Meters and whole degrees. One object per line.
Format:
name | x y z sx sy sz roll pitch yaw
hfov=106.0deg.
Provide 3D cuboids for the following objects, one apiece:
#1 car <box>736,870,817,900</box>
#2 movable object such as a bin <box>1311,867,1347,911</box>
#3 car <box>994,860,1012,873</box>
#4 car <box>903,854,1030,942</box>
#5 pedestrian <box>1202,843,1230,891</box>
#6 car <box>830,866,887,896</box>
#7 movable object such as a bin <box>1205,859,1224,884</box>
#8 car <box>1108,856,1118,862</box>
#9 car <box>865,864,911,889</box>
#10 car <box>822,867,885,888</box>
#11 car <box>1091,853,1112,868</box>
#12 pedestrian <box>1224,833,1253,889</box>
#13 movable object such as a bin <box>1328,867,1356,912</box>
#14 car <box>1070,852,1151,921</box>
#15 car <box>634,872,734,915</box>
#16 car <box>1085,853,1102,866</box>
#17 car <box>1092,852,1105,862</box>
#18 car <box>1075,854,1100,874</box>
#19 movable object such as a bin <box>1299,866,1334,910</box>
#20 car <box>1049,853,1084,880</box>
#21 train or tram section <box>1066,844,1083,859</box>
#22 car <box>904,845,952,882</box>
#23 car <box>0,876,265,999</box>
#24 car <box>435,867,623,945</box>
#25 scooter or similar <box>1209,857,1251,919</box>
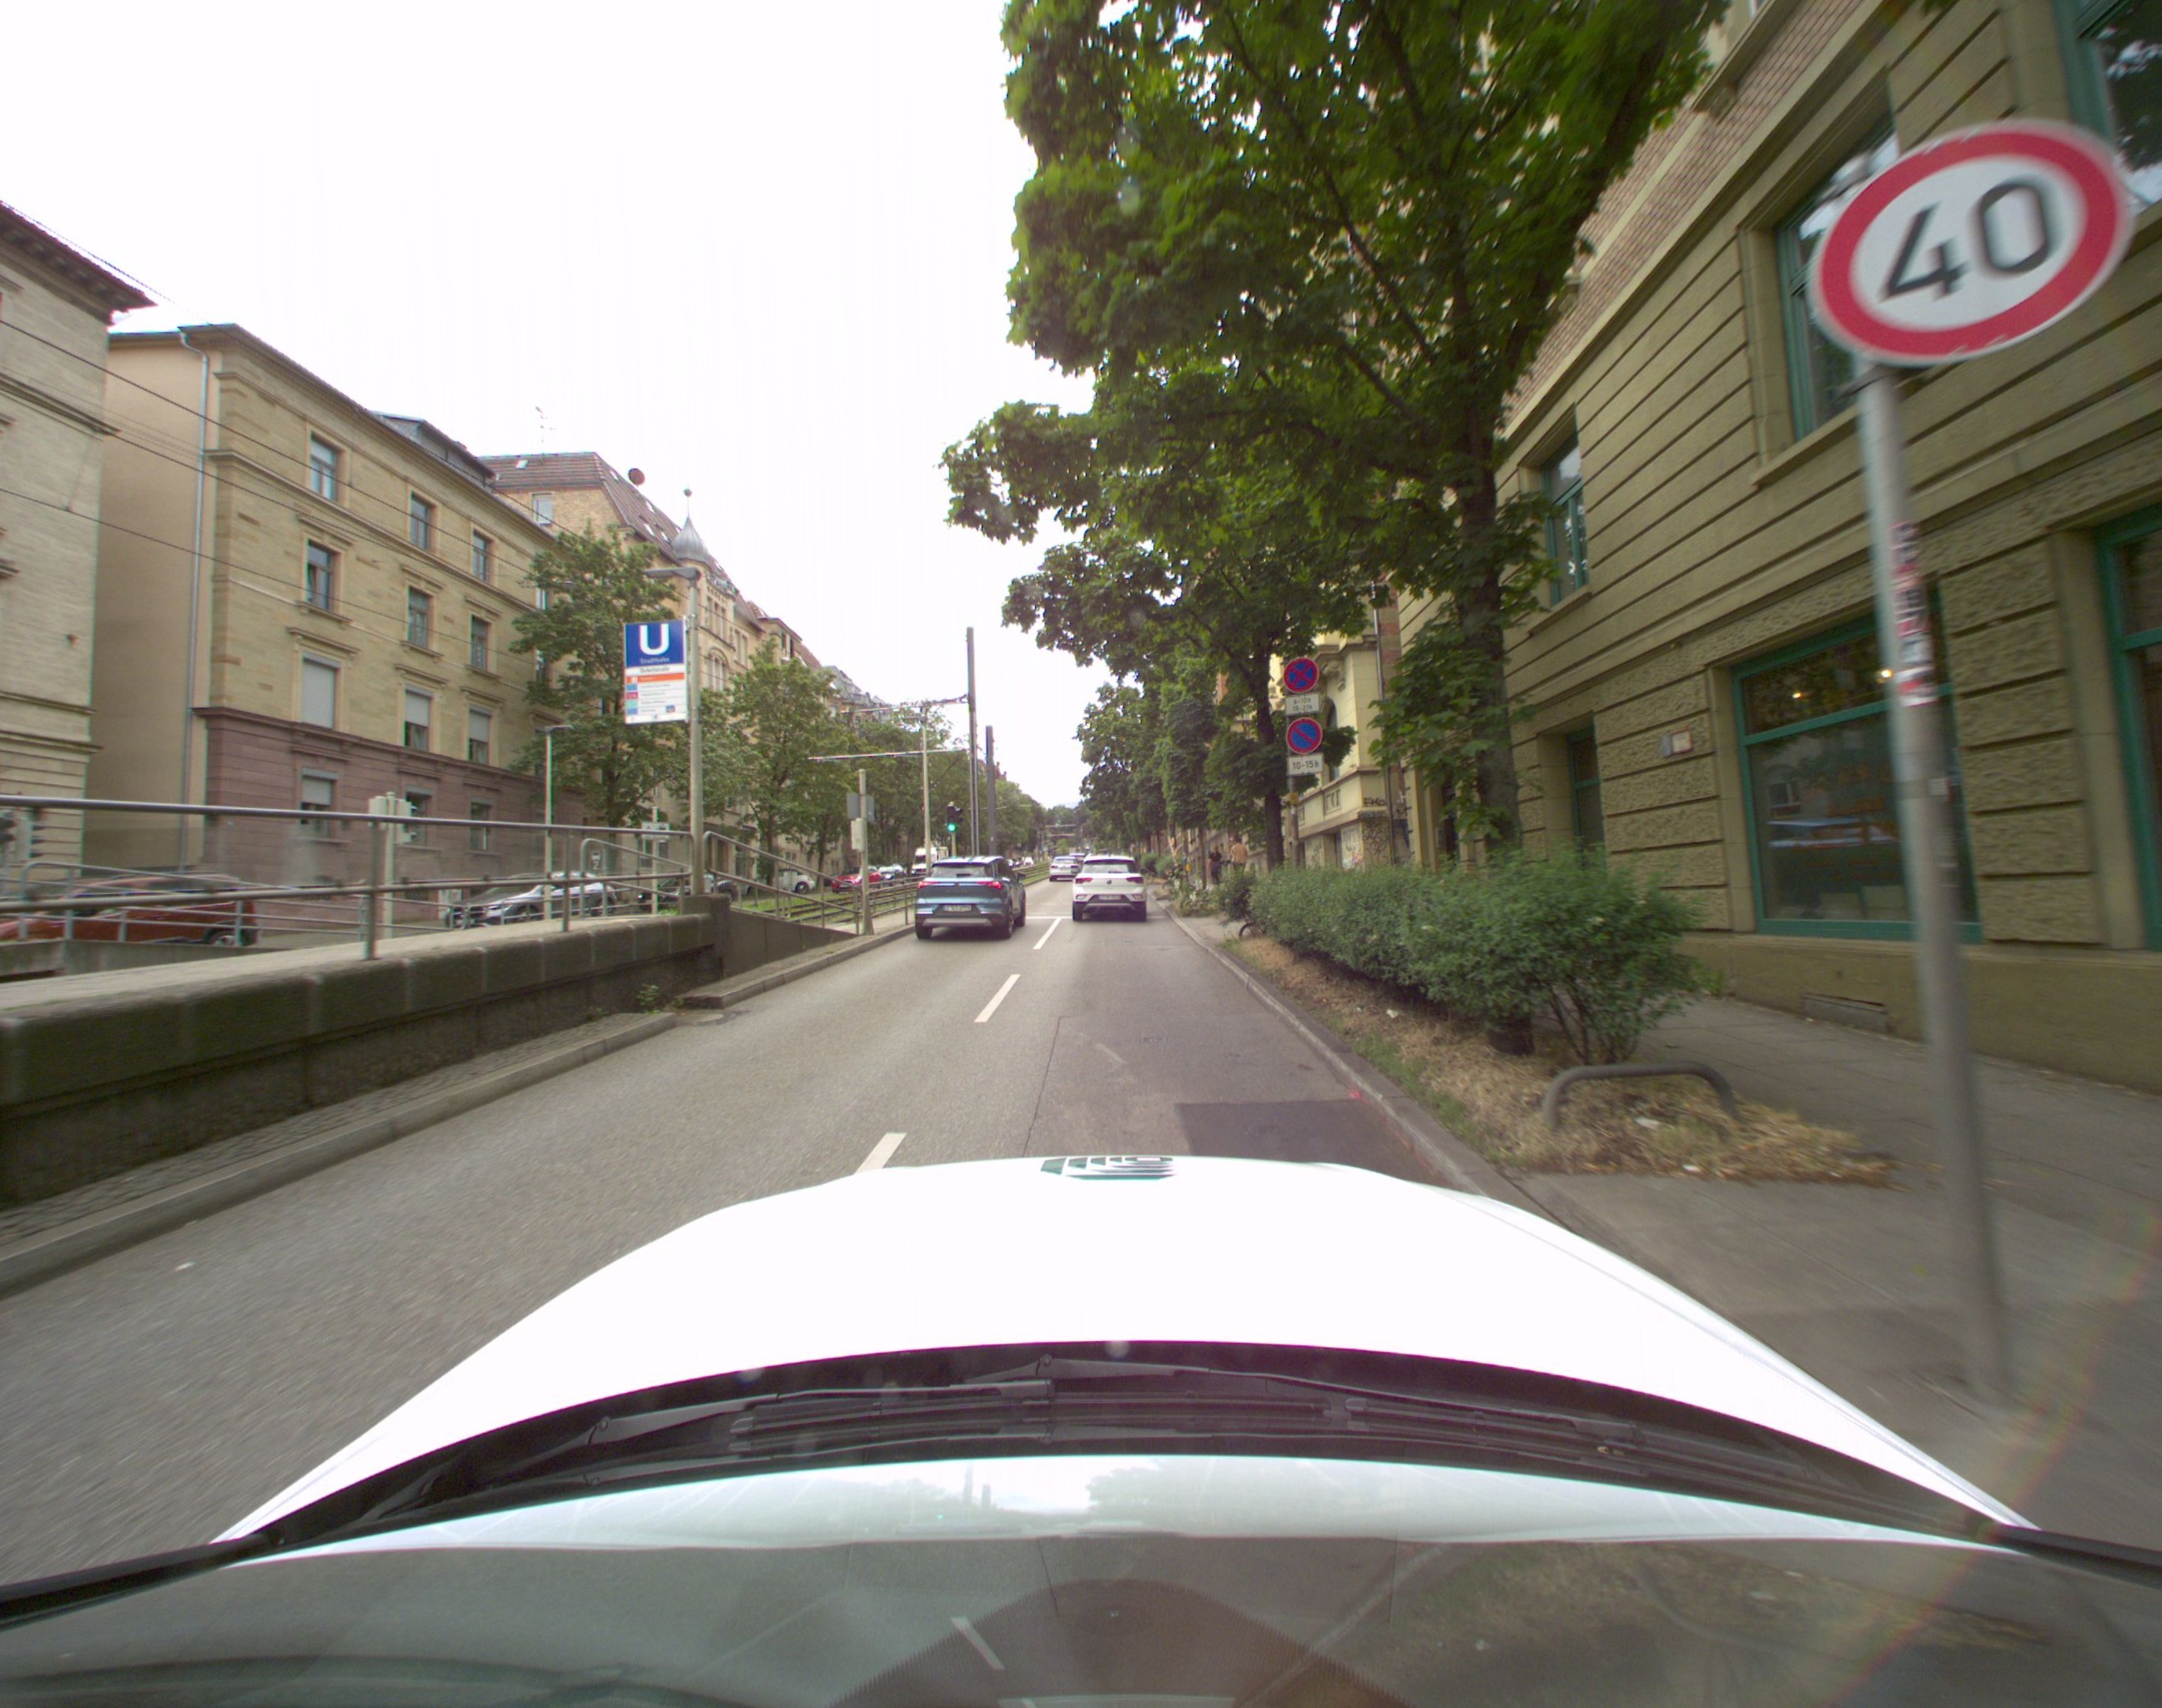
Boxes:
car | -17.119 1.717 45.844 4.012 1.422 1.769 -2 -1 -30
movable object such as a bin | 5.415 0.763 17.791 0.504 0.919 0.487 -4 -1 -40
car | -10.192 1.617 106.636 1.773 1.616 4.348 -4 -1 2
car | -2.184 0.809 16.635 1.828 1.546 4.195 -1 -1 2
pedestrian | 4.558 0.430 27.658 0.683 1.574 1.217 -4 0 2
car | -11.663 1.392 42.999 1.568 1.377 3.662 -3 0 7
movable object such as a bin | 5.842 0.760 35.671 0.669 1.016 0.582 -4 2 -1
car | 7.590 1.201 195.868 2.063 1.546 4.190 -1 -1 -2
car | -12.706 1.463 53.932 1.742 1.428 4.750 -3 0 2
car | -16.723 1.728 59.970 4.194 1.364 1.697 -2 0 -28
car | 2.207 0.671 87.674 2.062 1.546 4.191 -1 -1 -1
pedestrian | 5.345 0.249 27.726 0.683 1.829 1.122 -4 -1 2
movable object such as a bin | 5.495 0.744 17.134 0.496 0.919 0.446 -3 0 21
car | 0.723 0.763 20.715 1.829 1.546 4.194 -1 -1 1
car | -15.637 1.508 32.327 1.671 1.447 4.221 -3 0 3
car | 1.584 0.713 102.812 2.062 1.546 4.191 -1 -1 -1
car | 2.726 0.439 130.302 2.061 1.546 4.193 -1 -1 1
car | 0.562 0.782 66.509 1.828 1.546 4.195 -1 -1 2
movable object such as a bin | 5.311 0.764 18.384 0.609 0.919 0.494 -4 -1 4
car | -0.834 0.737 49.080 1.828 1.546 4.195 -1 -1 2
train or tram section | -1.519 -0.491 193.648 2.983 3.349 13.448 -2 -1 3
car | -12.378 0.783 66.349 2.384 2.699 6.519 -4 0 1
car | -17.966 1.418 14.807 1.840 1.860 4.144 -3 0 5
car | -14.569 1.293 21.875 1.702 1.735 4.579 -3 0 2
scooter or similar | 3.338 0.740 18.341 0.659 1.304 1.384 -4 -1 2
